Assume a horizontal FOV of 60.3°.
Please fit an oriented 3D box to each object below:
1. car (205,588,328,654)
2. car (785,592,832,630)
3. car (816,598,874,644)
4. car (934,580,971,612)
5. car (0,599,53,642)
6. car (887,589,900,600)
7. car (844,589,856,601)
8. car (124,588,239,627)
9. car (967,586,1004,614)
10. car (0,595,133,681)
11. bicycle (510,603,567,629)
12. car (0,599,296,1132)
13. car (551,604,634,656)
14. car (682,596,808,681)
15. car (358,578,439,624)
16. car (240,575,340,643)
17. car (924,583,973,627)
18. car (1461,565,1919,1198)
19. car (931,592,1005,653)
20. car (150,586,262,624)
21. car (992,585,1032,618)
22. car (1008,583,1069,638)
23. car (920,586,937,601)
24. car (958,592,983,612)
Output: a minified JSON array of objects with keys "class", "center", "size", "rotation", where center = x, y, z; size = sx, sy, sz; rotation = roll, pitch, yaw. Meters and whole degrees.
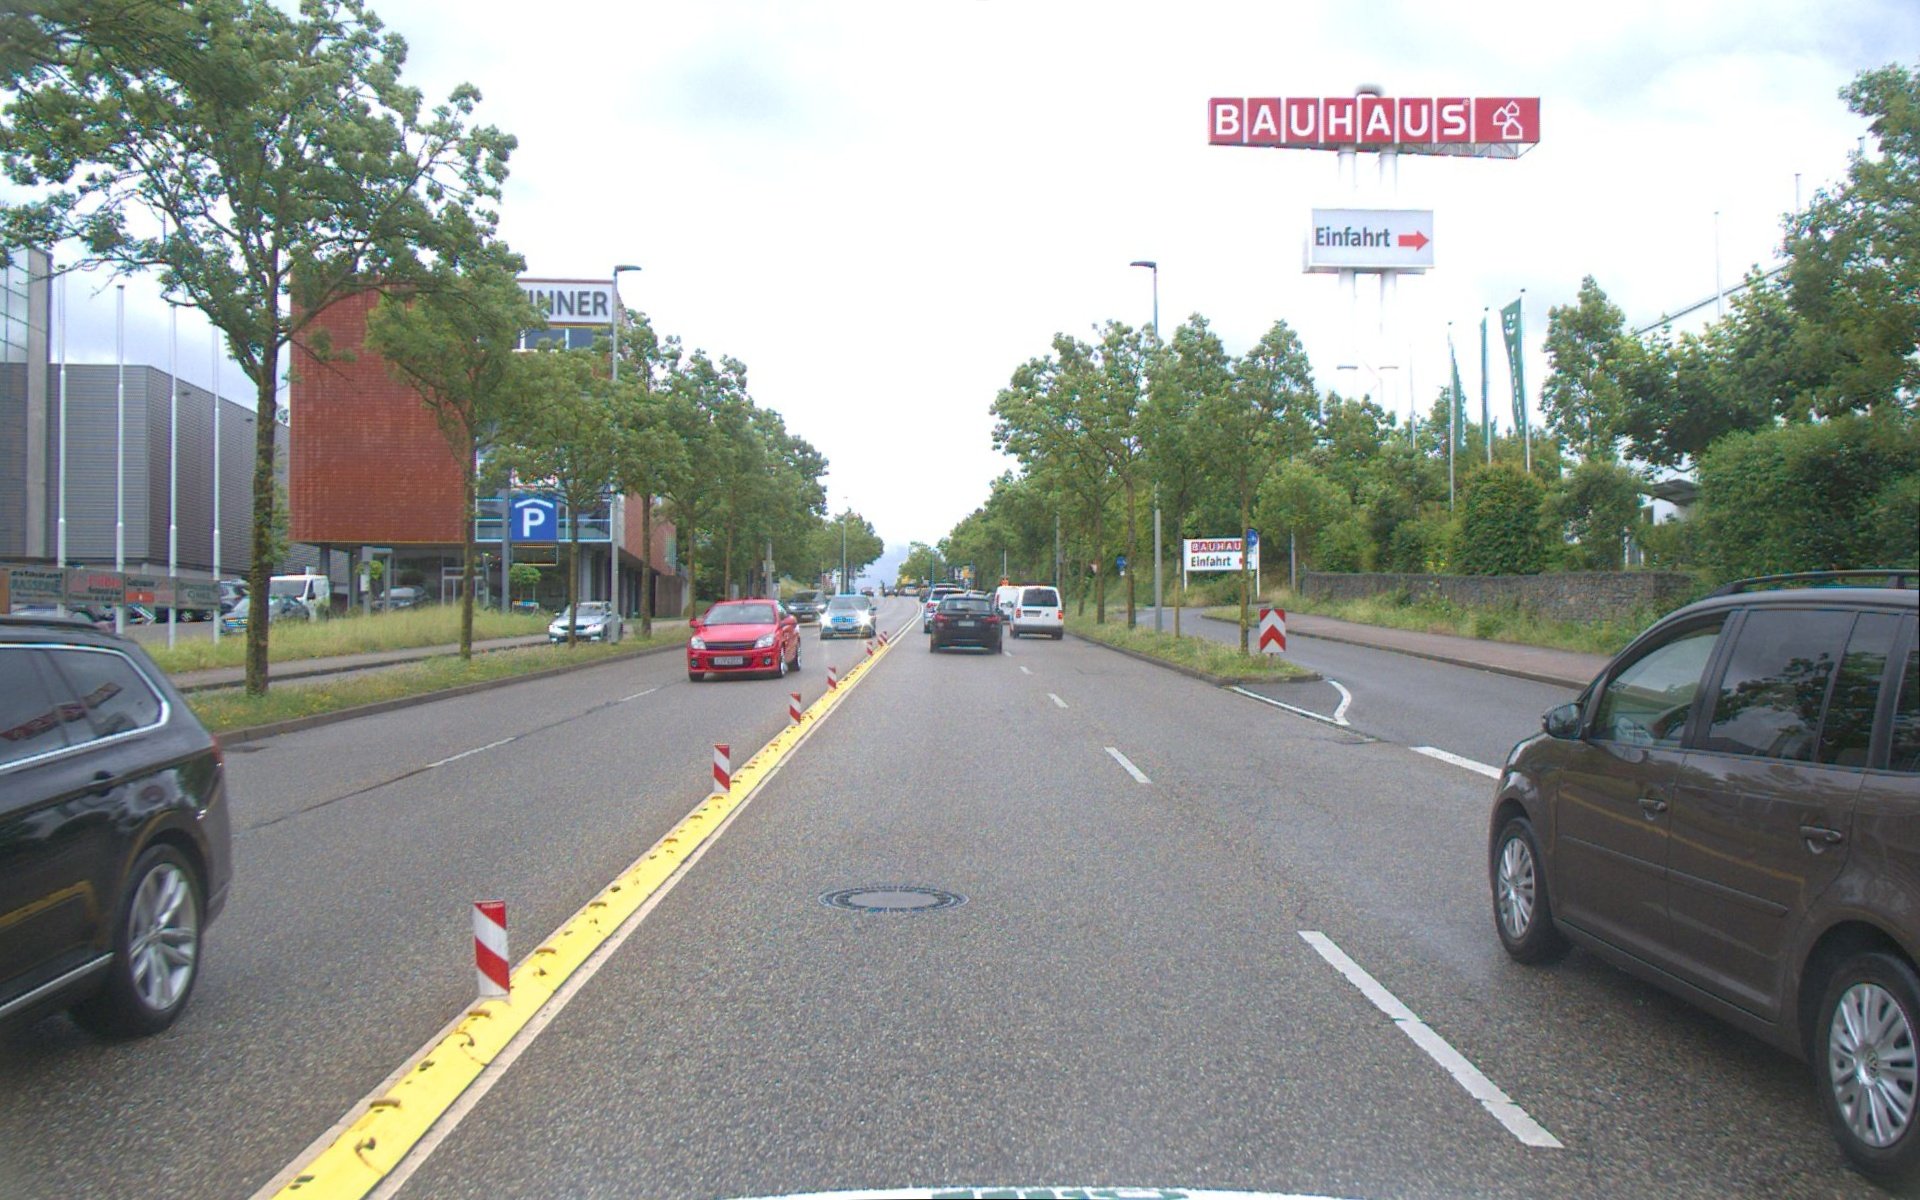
[{"class":"car","center":[-21.337,0.597,51.095],"size":[1.999,1.792,4.942],"rotation":[1,1,-4]},{"class":"car","center":[-7.050,0.512,77.170],"size":[1.751,1.642,4.436],"rotation":[-2,0,0]},{"class":"car","center":[-3.885,0.679,56.383],"size":[1.633,1.434,4.377],"rotation":[-2,0,0]},{"class":"car","center":[-0.404,-0.181,85.707],"size":[1.758,1.537,3.998],"rotation":[2,-1,-2]},{"class":"car","center":[-37.319,0.771,63.229],"size":[4.197,1.536,1.844],"rotation":[1,1,-9]},{"class":"car","center":[-9.643,-0.822,240.413],"size":[1.759,1.537,3.997],"rotation":[2,-1,-4]},{"class":"car","center":[-16.063,-0.732,241.454],"size":[1.759,1.537,3.997],"rotation":[2,-1,-4]},{"class":"car","center":[-33.149,0.325,70.530],"size":[4.033,1.536,1.815],"rotation":[1,1,-9]},{"class":"car","center":[1.429,0.001,95.275],"size":[1.759,1.537,3.997],"rotation":[2,-1,-4]},{"class":"car","center":[-20.190,0.780,36.520],"size":[1.895,1.637,4.706],"rotation":[1,1,-6]},{"class":"bicycle","center":[-17.867,0.684,70.084],"size":[2.034,0.951,1.094],"rotation":[4,-1,3]},{"class":"car","center":[-3.596,0.768,4.478],"size":[1.790,1.491,4.615],"rotation":[-2,0,-1]},{"class":"car","center":[-12.304,0.973,55.653],"size":[1.829,1.580,4.574],"rotation":[-2,0,-1]},{"class":"car","center":[-3.935,0.668,30.867],"size":[1.726,1.450,4.180],"rotation":[-1,0,1]},{"class":"car","center":[-24.205,0.020,71.477],"size":[2.095,1.804,4.606],"rotation":[1,1,-3]},{"class":"car","center":[-22.893,0.254,56.726],"size":[2.075,2.132,5.111],"rotation":[1,1,-10]},{"class":"car","center":[-0.453,0.207,62.587],"size":[1.758,1.537,3.999],"rotation":[2,-1,-1]},{"class":"car","center":[3.242,0.721,5.695],"size":[1.651,1.609,4.217],"rotation":[1,0,-1]},{"class":"car","center":[0.194,0.543,42.543],"size":[1.790,1.494,4.000],"rotation":[0,0,0]},{"class":"car","center":[-33.260,0.208,73.049],"size":[4.113,1.536,1.815],"rotation":[1,1,-9]},{"class":"car","center":[2.549,0.102,81.428],"size":[1.758,1.537,3.999],"rotation":[2,-1,-1]},{"class":"car","center":[2.701,0.337,57.816],"size":[1.790,1.789,3.999],"rotation":[2,0,-2]},{"class":"car","center":[-3.585,-0.727,185.906],"size":[1.758,1.537,3.998],"rotation":[2,-1,-2]},{"class":"car","center":[0.834,0.200,134.070],"size":[1.759,1.537,3.997],"rotation":[2,-1,-4]}]
